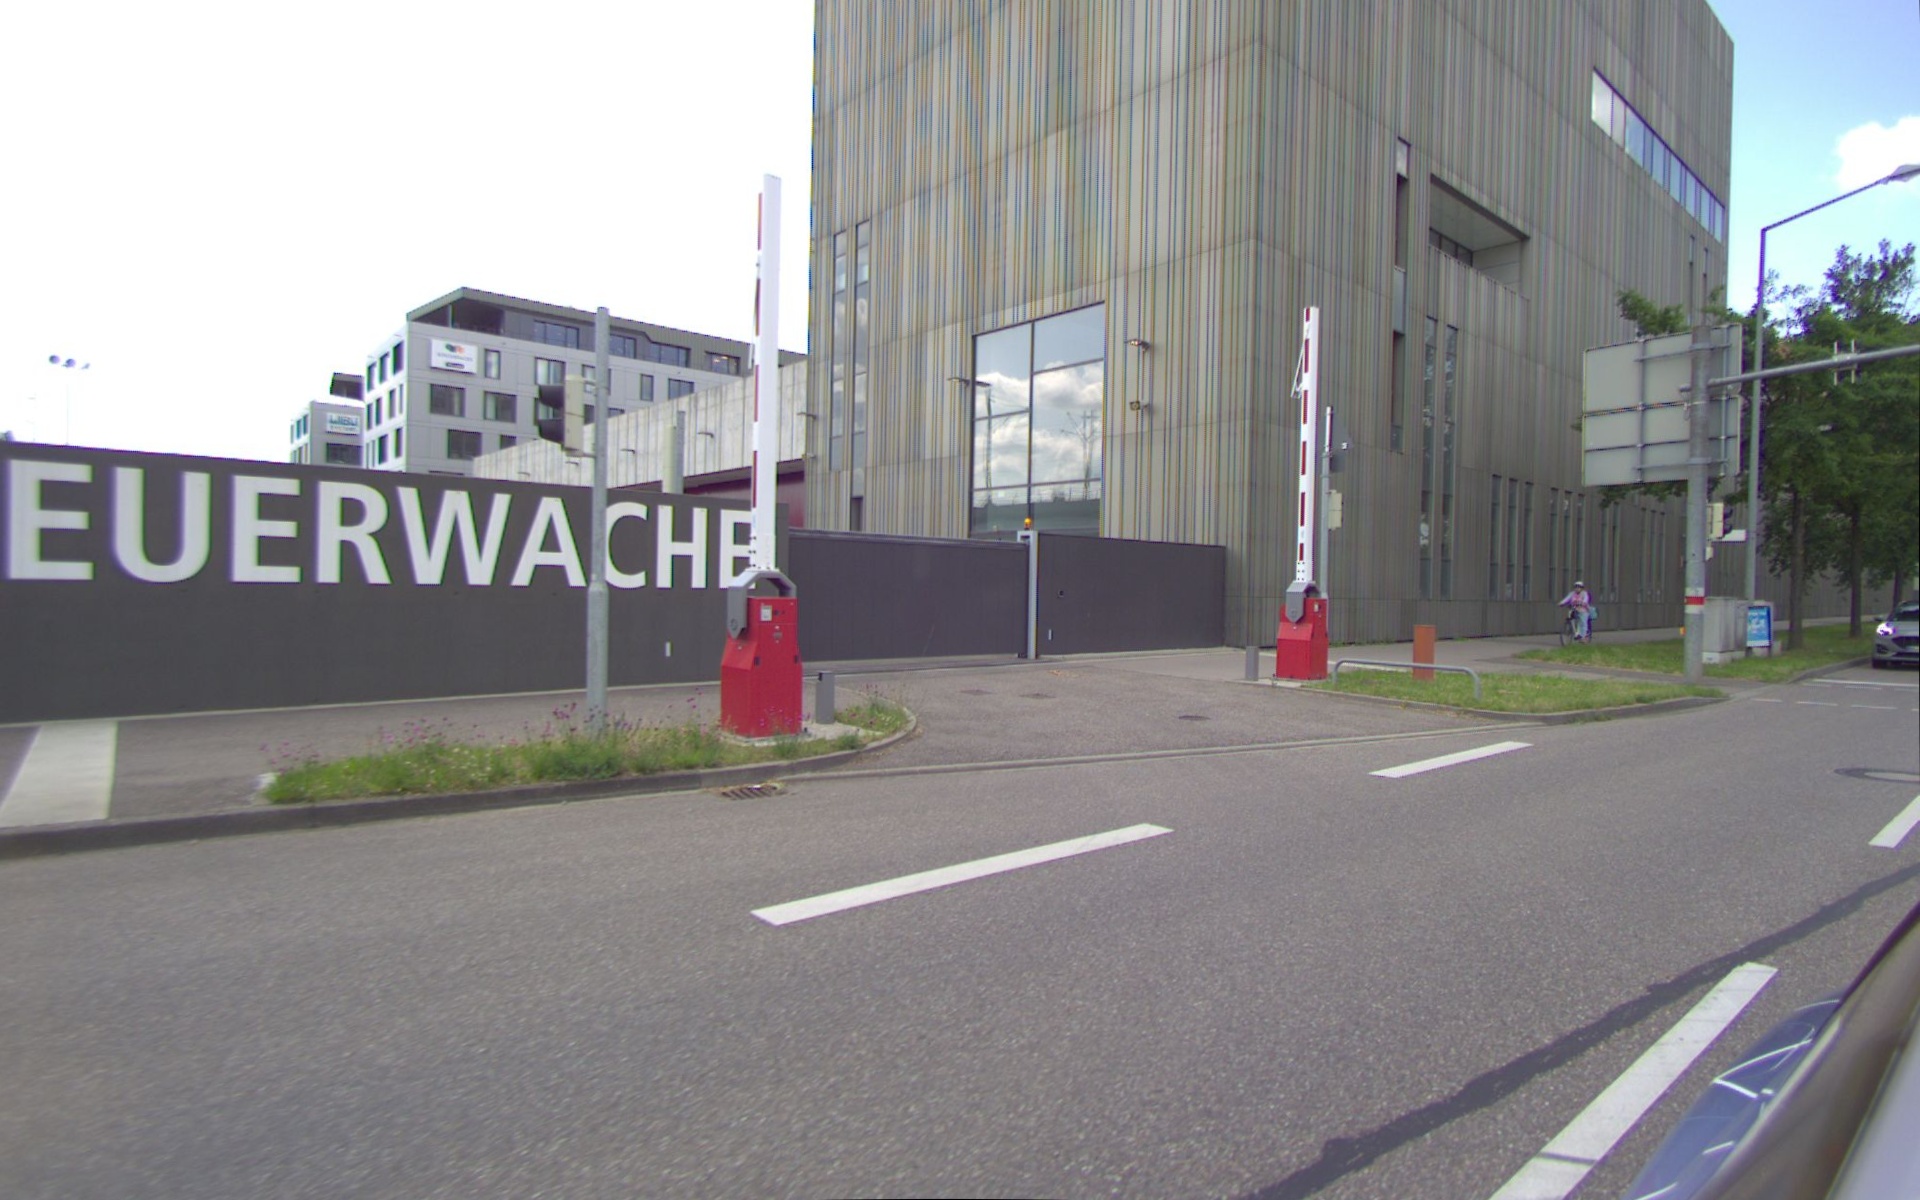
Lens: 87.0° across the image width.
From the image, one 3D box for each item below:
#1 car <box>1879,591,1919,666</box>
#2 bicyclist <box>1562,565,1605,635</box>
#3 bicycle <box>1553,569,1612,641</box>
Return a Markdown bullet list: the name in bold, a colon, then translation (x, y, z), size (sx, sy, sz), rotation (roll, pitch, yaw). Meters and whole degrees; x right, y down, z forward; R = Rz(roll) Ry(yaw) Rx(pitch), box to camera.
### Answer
- **car**: translation (22.050, 0.598, 22.598), size (3.885, 1.594, 1.822), rotation (0, -1, -41)
- **bicyclist**: translation (16.434, -0.011, 26.662), size (0.972, 1.791, 0.716), rotation (0, 1, -44)
- **bicycle**: translation (16.385, 0.109, 26.619), size (2.492, 1.796, 0.720), rotation (0, 2, -45)
